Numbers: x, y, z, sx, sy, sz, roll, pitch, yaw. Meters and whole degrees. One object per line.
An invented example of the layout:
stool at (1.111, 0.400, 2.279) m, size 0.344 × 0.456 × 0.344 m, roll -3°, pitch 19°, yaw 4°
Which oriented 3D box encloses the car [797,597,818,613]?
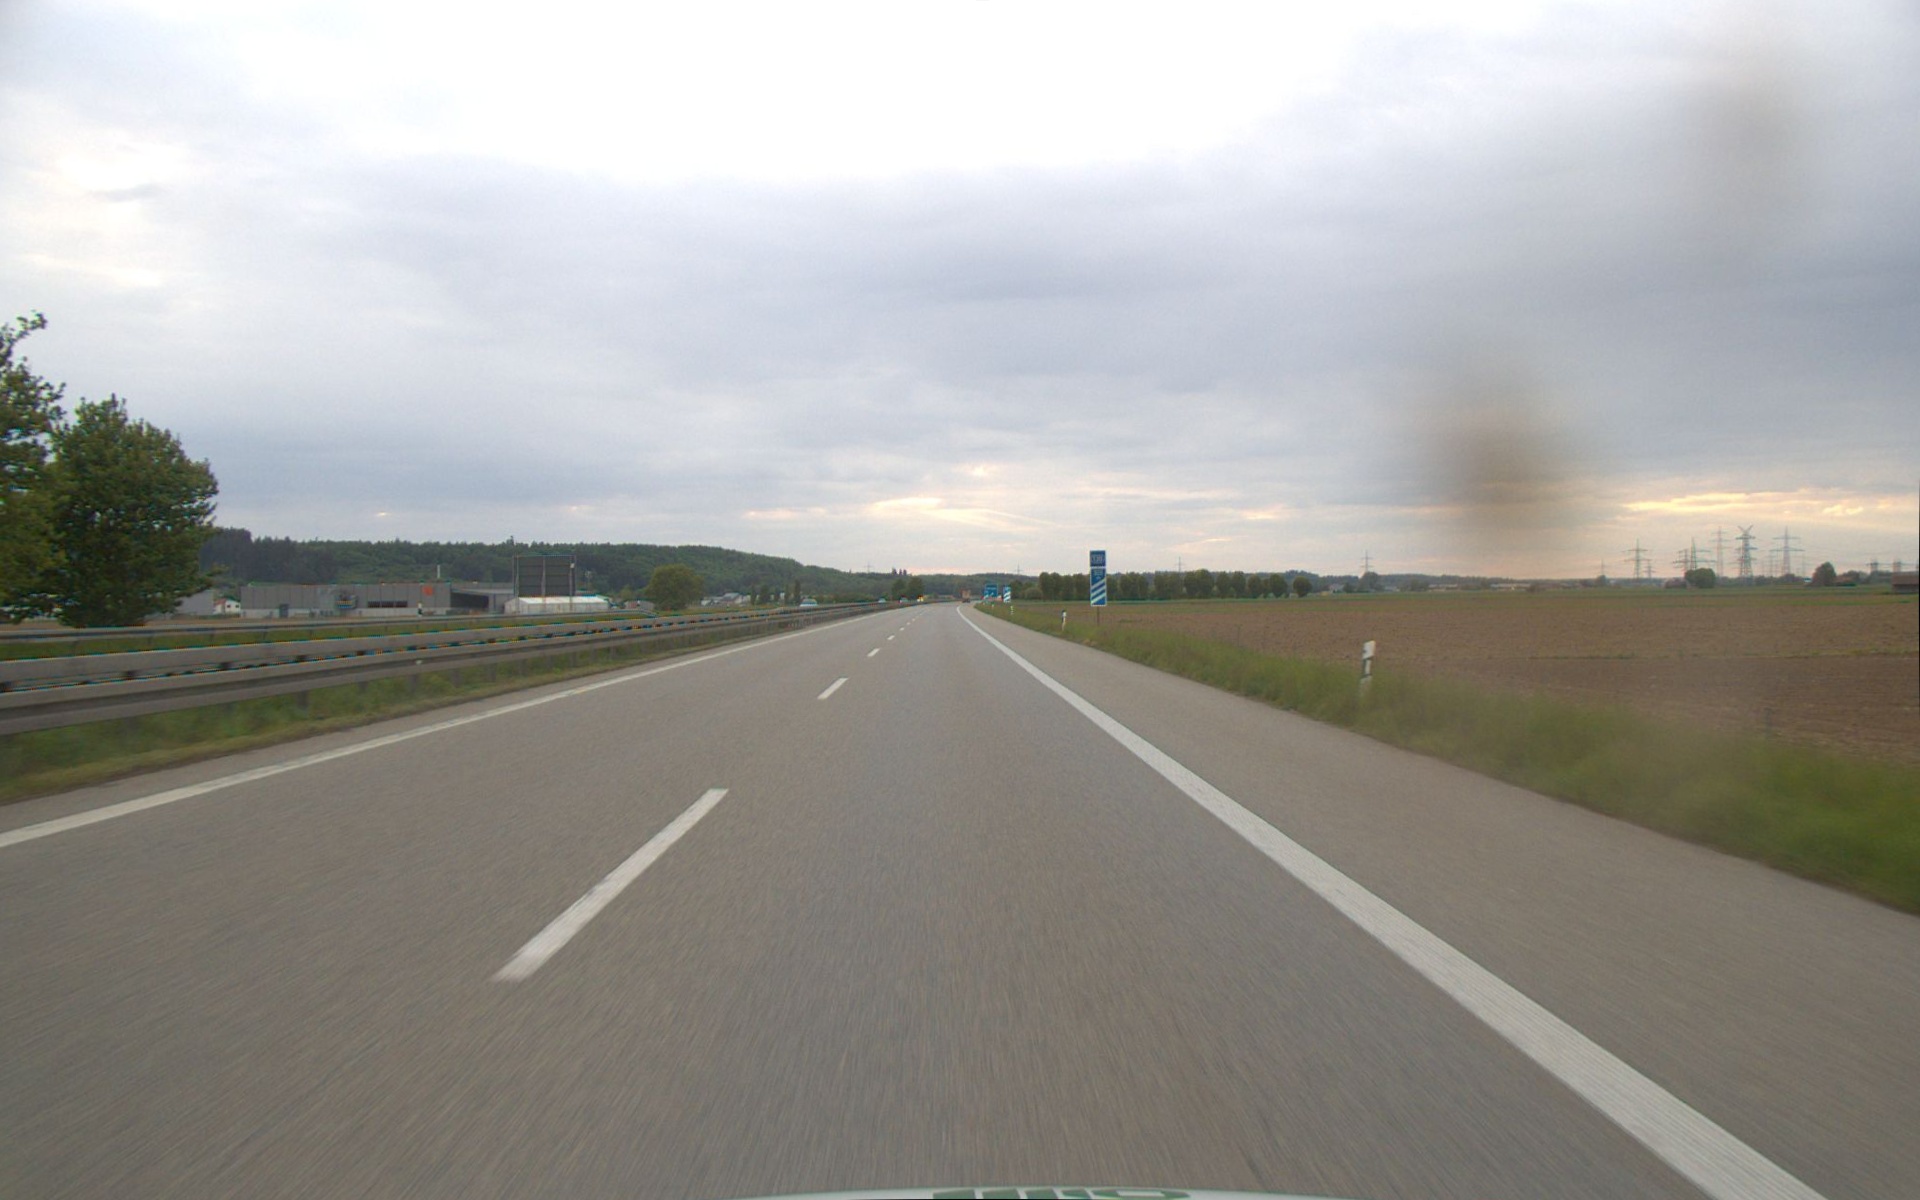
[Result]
car at (-15.411, 0.491, 167.237) m, size 1.705 × 1.602 × 4.855 m, roll 1°, pitch 0°, yaw -1°
